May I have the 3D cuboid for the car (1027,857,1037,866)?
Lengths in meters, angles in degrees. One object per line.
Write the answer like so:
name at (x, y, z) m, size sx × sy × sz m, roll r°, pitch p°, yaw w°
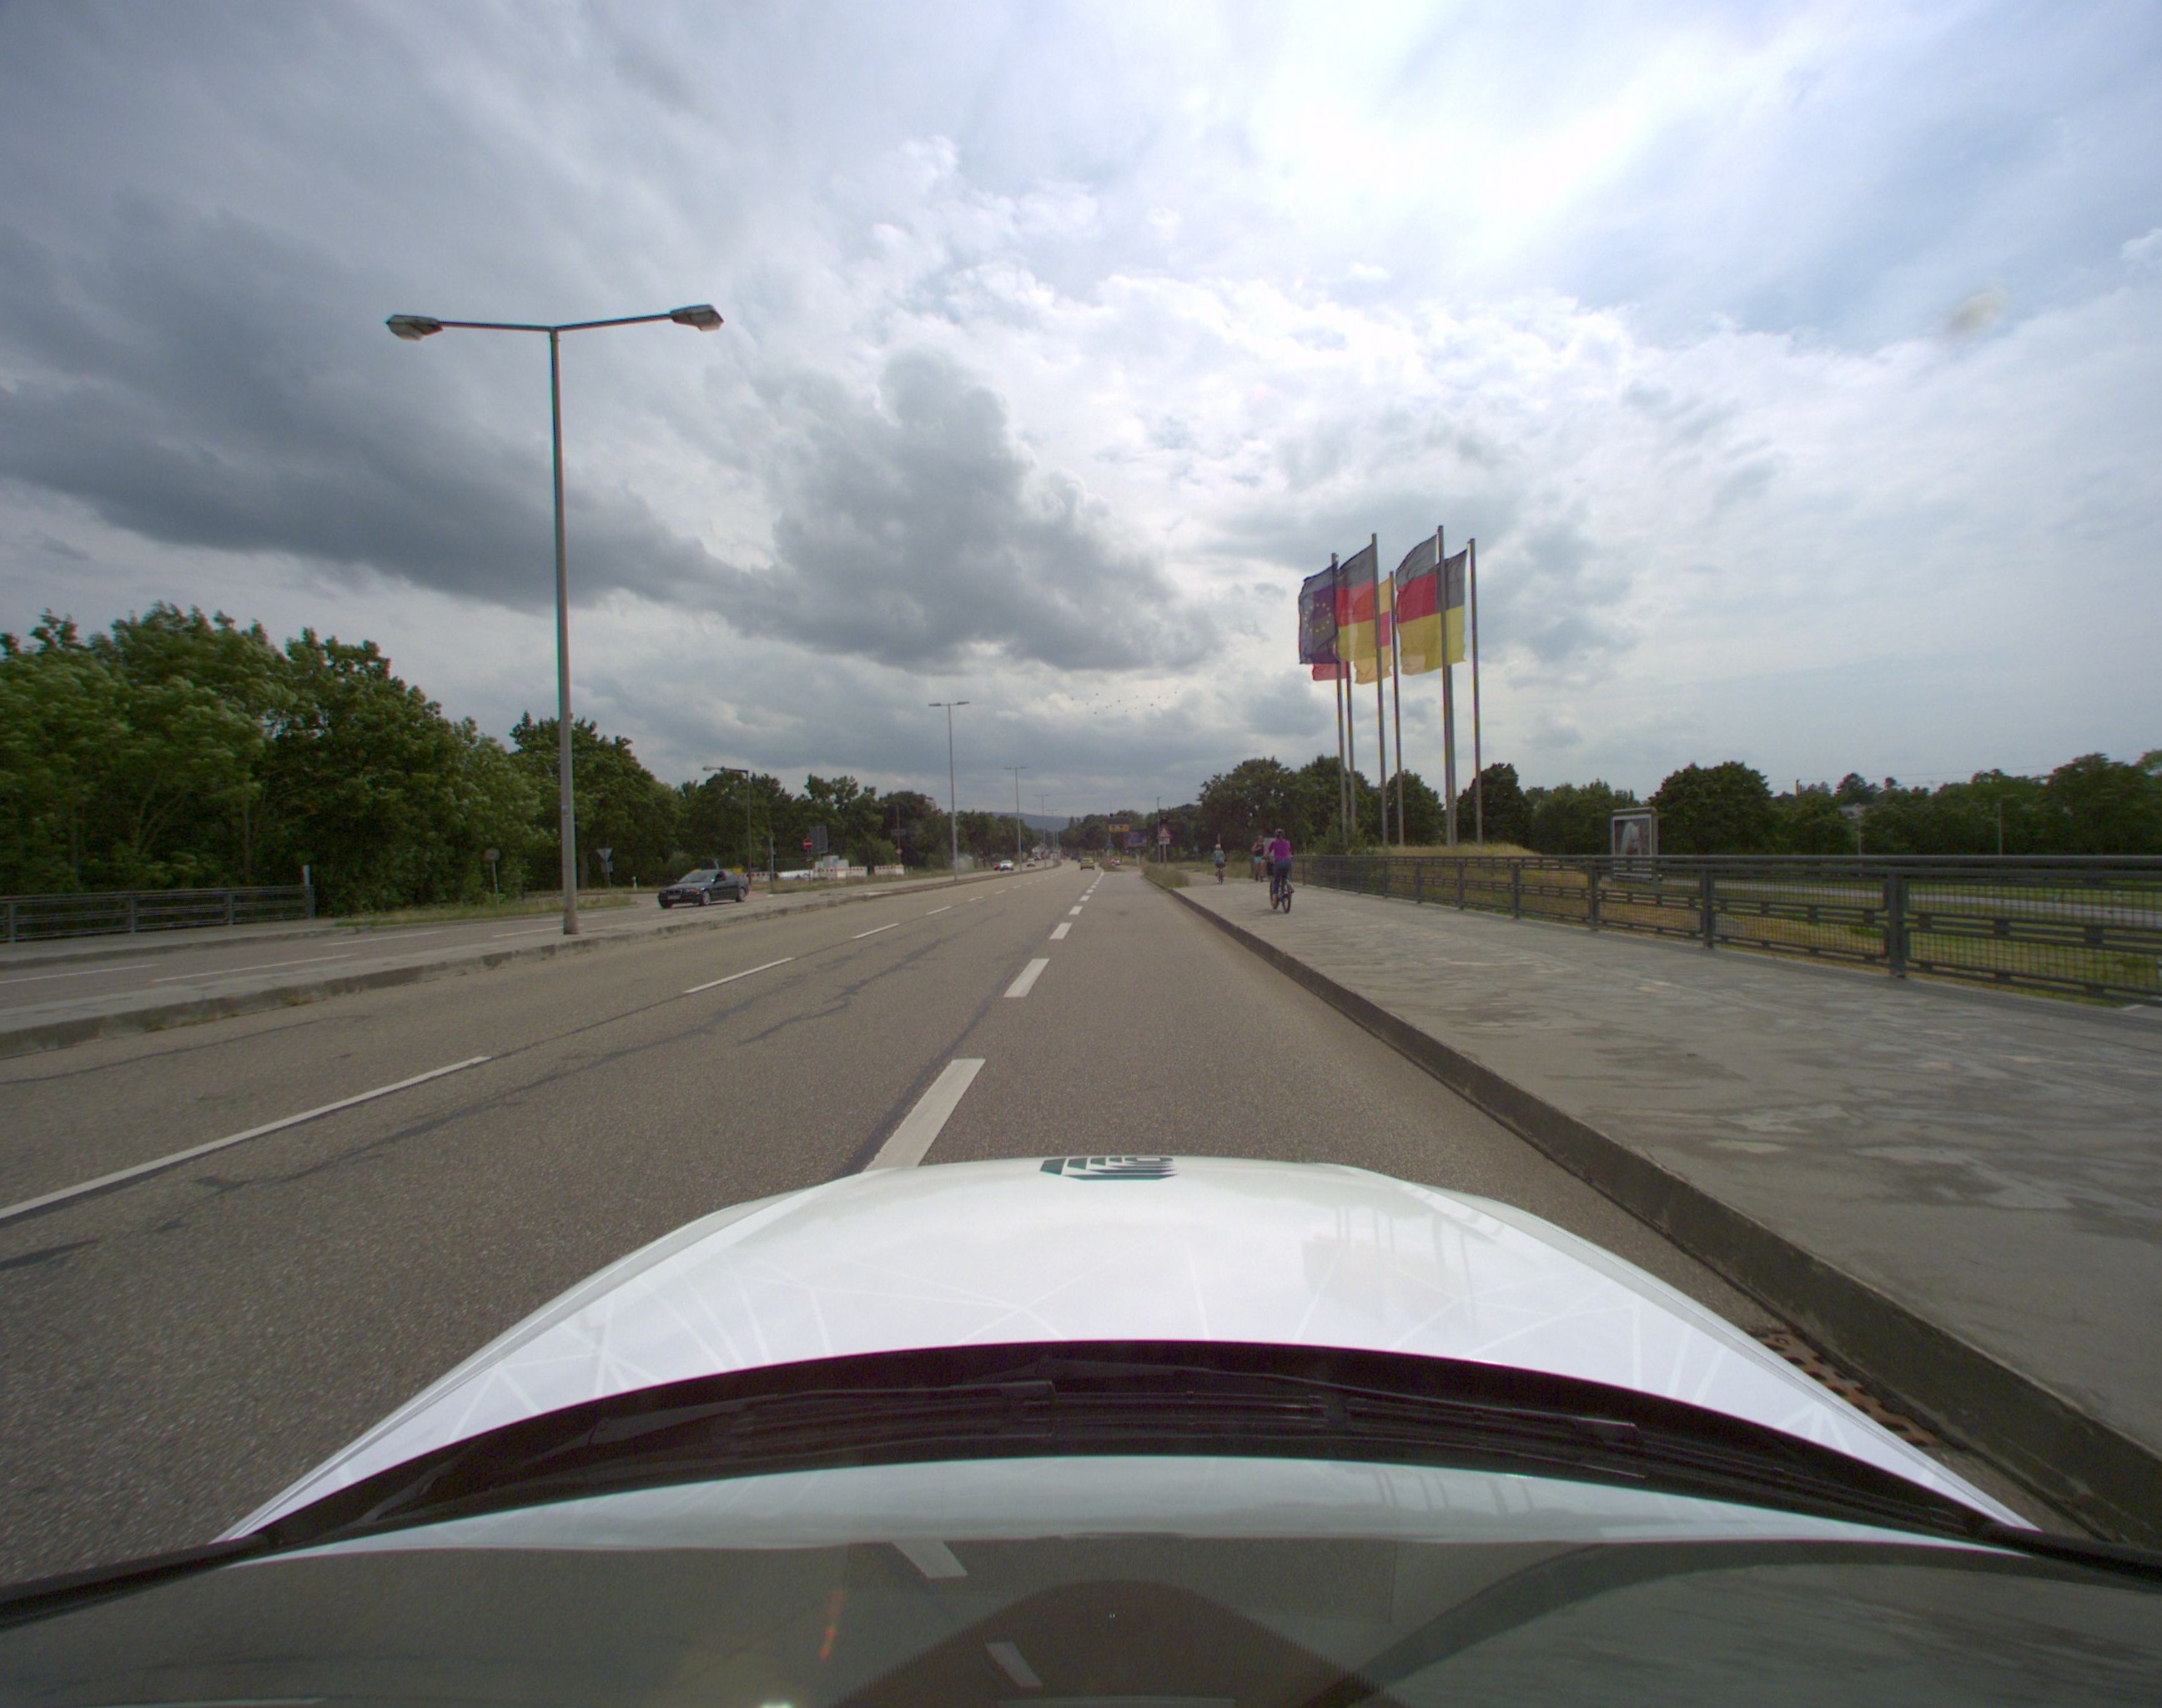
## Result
car at (-10.882, 1.742, 180.943) m, size 1.896 × 1.809 × 4.540 m, roll -1°, pitch 1°, yaw 1°

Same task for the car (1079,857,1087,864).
car at (0.494, 1.856, 225.829) m, size 2.199 × 1.684 × 4.000 m, roll -1°, pitch 1°, yaw 0°

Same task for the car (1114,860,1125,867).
car at (8.058, 1.937, 171.683) m, size 2.008 × 1.269 × 3.999 m, roll -1°, pitch 1°, yaw -1°

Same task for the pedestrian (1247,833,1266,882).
pedestrian at (7.300, 0.138, 33.853) m, size 0.625 × 2.013 × 0.668 m, roll -1°, pitch 0°, yaw 2°

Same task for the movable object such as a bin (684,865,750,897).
movable object such as a bin at (-29.850, 2.193, 66.913) m, size 4.577 × 2.397 × 1.994 m, roll -1°, pitch 1°, yaw -10°

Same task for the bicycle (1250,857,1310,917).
bicycle at (4.361, 0.686, 17.992) m, size 0.691 × 1.192 × 2.461 m, roll -2°, pitch 0°, yaw 0°

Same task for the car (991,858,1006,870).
car at (-14.152, 1.729, 140.089) m, size 1.986 × 1.882 × 4.001 m, roll 3°, pitch -1°, yaw 2°

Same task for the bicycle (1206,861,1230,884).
bicycle at (5.713, 0.756, 34.087) m, size 0.621 × 0.888 × 2.154 m, roll -1°, pitch 1°, yaw 0°

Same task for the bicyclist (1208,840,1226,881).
bicyclist at (5.713, 0.267, 34.163) m, size 0.619 × 1.666 × 0.669 m, roll -1°, pitch 0°, yaw 0°

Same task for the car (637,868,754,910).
car at (-14.841, 1.297, 31.706) m, size 1.984 × 1.373 × 4.584 m, roll -3°, pitch -1°, yaw 5°

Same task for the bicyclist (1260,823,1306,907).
bicyclist at (4.375, 0.221, 17.681) m, size 0.701 × 1.755 × 0.991 m, roll -2°, pitch 0°, yaw 0°

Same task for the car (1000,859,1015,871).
car at (-10.883, 1.645, 120.595) m, size 1.688 × 1.629 × 4.386 m, roll -1°, pitch 1°, yaw 2°

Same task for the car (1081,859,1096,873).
car at (0.950, 1.477, 102.986) m, size 1.788 × 1.562 × 3.999 m, roll -1°, pitch 1°, yaw -1°
